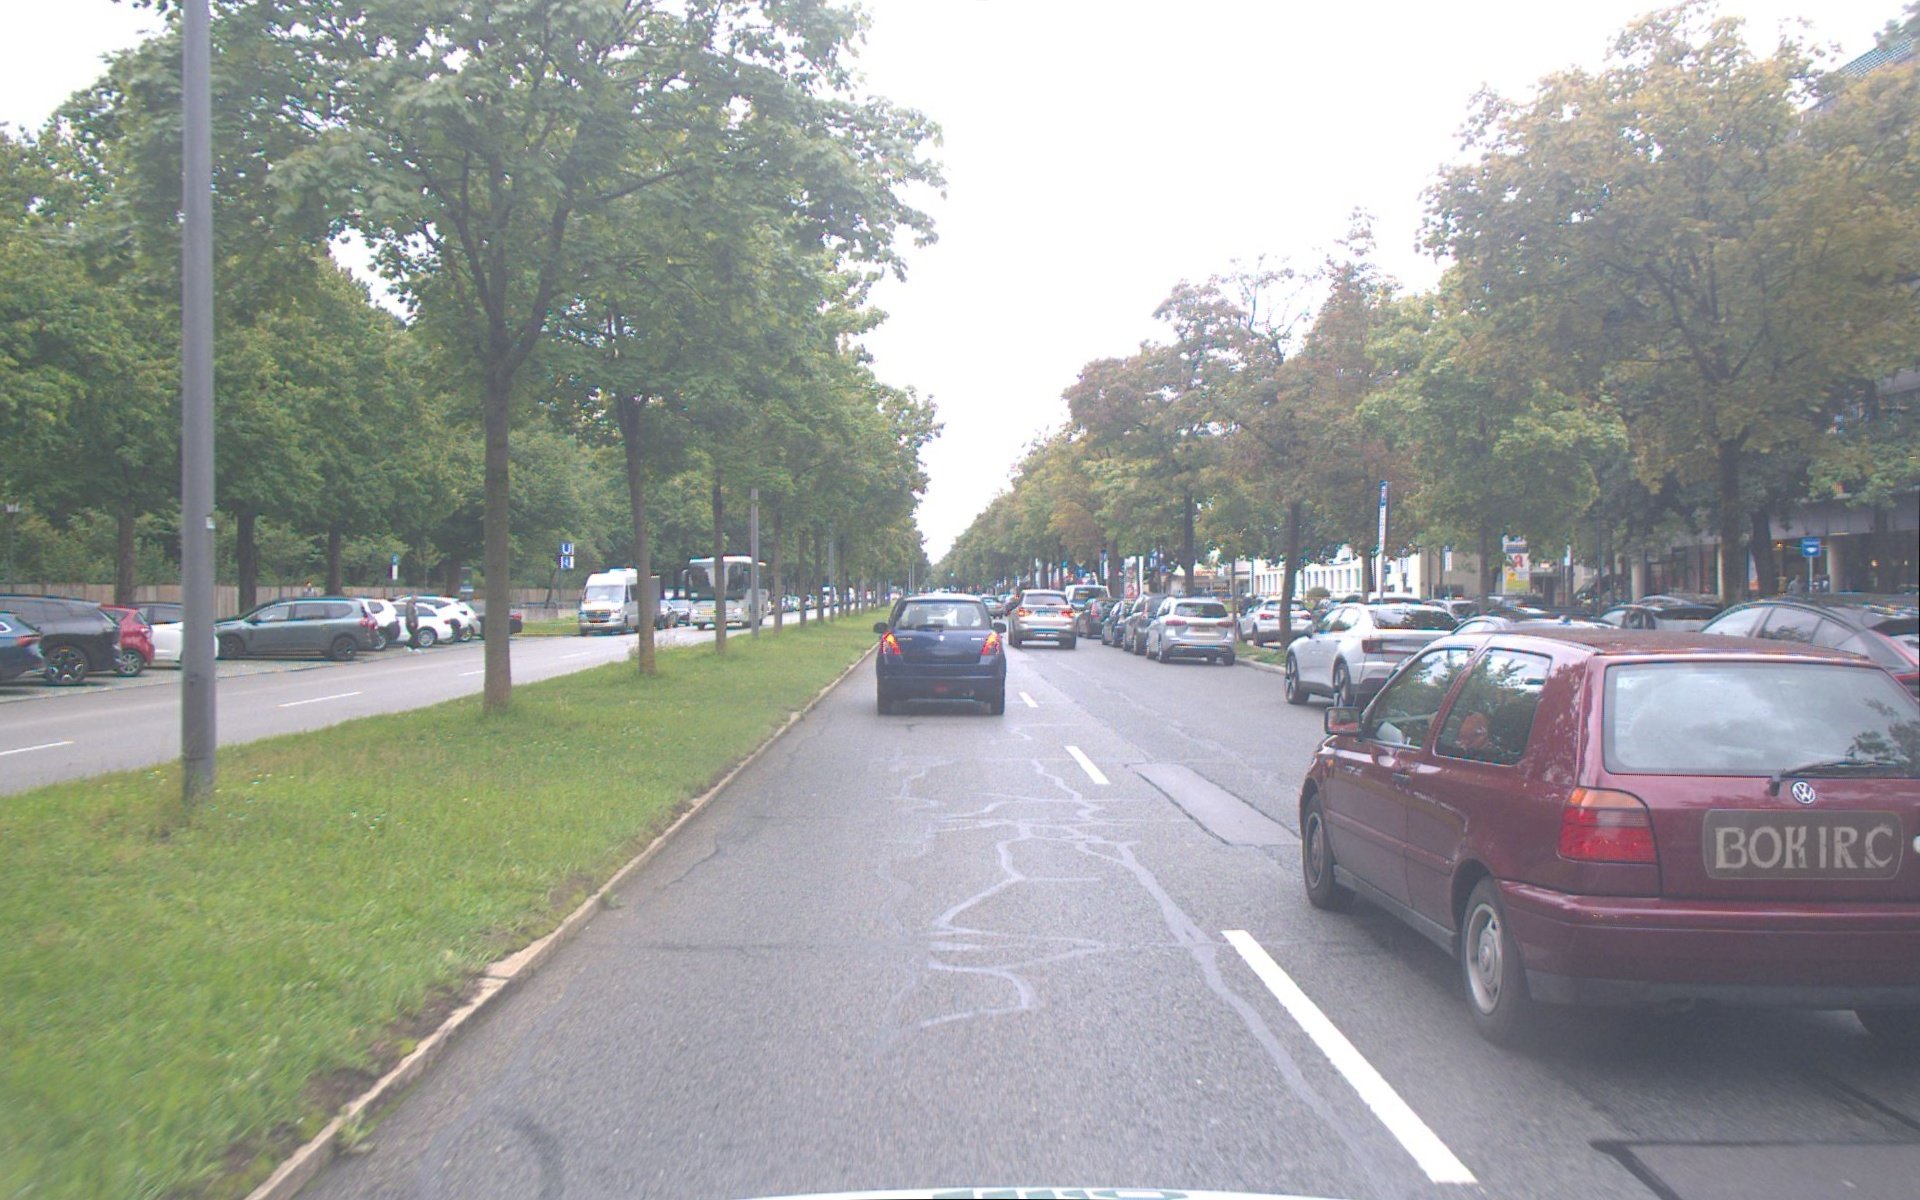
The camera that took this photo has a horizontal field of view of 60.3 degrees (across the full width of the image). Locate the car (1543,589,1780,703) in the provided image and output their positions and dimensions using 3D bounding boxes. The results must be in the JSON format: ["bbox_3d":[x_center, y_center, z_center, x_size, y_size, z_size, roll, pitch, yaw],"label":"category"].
[{"bbox_3d":[9.838,0.593,23.533,1.650,1.479,4.009,0,0,0],"label":"car"}]

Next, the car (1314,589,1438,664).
[{"bbox_3d":[9.759,0.588,39.143,1.650,1.661,4.779,0,0,-1],"label":"car"}]

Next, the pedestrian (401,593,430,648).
[{"bbox_3d":[-16.337,0.614,49.594,0.711,1.640,0.679,0,0,-9],"label":"pedestrian"}]

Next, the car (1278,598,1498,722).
[{"bbox_3d":[5.735,0.743,22.747,1.672,1.479,4.510,2,0,-2],"label":"car"}]

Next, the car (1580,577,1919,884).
[{"bbox_3d":[5.959,0.704,11.289,1.728,1.680,4.423,0,0,-1],"label":"car"}]

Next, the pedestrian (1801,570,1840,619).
[{"bbox_3d":[30.658,-0.201,58.947,0.943,1.734,0.798,1,0,-1],"label":"pedestrian"}]

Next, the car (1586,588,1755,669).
[{"bbox_3d":[15.559,0.583,36.477,1.650,1.661,4.496,0,0,-3],"label":"car"}]

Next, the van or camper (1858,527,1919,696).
[{"bbox_3d":[15.772,0.182,24.201,1.983,2.602,5.956,0,0,-1],"label":"van or camper"}]

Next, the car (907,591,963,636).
[{"bbox_3d":[-0.895,0.439,56.633,1.813,1.472,4.096,0,0,-2],"label":"car"}]

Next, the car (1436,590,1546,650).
[{"bbox_3d":[15.469,0.550,48.415,1.650,1.661,4.381,0,0,-3],"label":"car"}]

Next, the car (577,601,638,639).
[{"bbox_3d":[-15.173,0.831,71.351,1.875,1.569,4.186,-1,0,-2],"label":"car"}]

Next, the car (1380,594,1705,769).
[{"bbox_3d":[5.793,0.725,17.065,1.728,1.573,4.423,0,0,-1],"label":"car"}]

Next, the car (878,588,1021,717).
[{"bbox_3d":[-0.206,0.634,22.326,1.753,1.583,3.998,0,0,-2],"label":"car"}]

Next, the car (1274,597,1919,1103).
[{"bbox_3d":[2.523,0.736,6.893,1.589,1.479,3.949,0,0,-1],"label":"car"}]

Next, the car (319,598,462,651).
[{"bbox_3d":[-18.523,0.772,53.820,4.059,1.612,1.896,-1,0,-35],"label":"car"}]

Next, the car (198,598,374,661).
[{"bbox_3d":[-18.063,0.751,44.354,4.132,1.569,1.899,-1,0,-32],"label":"car"}]

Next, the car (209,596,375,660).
[{"bbox_3d":[-18.888,0.757,46.819,4.059,1.725,1.896,-1,0,-35],"label":"car"}]

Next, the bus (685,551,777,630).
[{"bbox_3d":[-10.921,-0.450,80.104,2.682,3.436,12.012,-2,0,0],"label":"bus"}]

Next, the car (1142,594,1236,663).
[{"bbox_3d":[5.509,0.645,40.193,1.650,1.552,4.455,1,0,0],"label":"car"}]

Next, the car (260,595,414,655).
[{"bbox_3d":[-18.892,0.733,50.178,4.059,1.725,1.896,-1,0,-35],"label":"car"}]

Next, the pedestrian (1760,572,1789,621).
[{"bbox_3d":[28.918,-0.133,58.716,0.667,1.734,0.697,1,0,-1],"label":"pedestrian"}]

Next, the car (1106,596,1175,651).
[{"bbox_3d":[5.469,0.685,50.584,1.650,1.581,4.306,0,0,0],"label":"car"}]

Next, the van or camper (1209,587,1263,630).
[{"bbox_3d":[13.349,0.385,80.251,1.905,2.009,4.306,0,0,0],"label":"van or camper"}]

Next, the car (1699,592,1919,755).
[{"bbox_3d":[9.961,0.721,18.433,1.650,1.613,4.009,0,0,0],"label":"car"}]

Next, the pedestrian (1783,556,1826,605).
[{"bbox_3d":[30.668,-0.701,60.080,0.996,1.734,1.046,1,0,-1],"label":"pedestrian"}]

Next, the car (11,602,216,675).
[{"bbox_3d":[-19.246,0.836,37.637,4.054,1.527,1.899,-1,0,-32],"label":"car"}]

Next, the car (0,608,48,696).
[{"bbox_3d":[-18.121,0.915,28.532,4.059,1.495,1.896,-1,0,-35],"label":"car"}]

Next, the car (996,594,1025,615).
[{"bbox_3d":[3.643,0.312,119.734,1.813,1.472,4.096,0,0,-2],"label":"car"}]

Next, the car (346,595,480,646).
[{"bbox_3d":[-18.783,0.679,56.840,4.059,1.681,1.896,-1,0,-35],"label":"car"}]

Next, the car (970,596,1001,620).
[{"bbox_3d":[1.616,0.511,106.169,1.813,1.472,4.096,0,0,-2],"label":"car"}]

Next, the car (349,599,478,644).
[{"bbox_3d":[-19.615,0.752,59.385,4.059,1.500,1.896,-1,0,-35],"label":"car"}]

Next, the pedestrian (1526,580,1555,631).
[{"bbox_3d":[19.983,0.201,56.981,0.732,1.736,0.702,0,0,-1],"label":"pedestrian"}]

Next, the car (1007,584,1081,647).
[{"bbox_3d":[2.433,0.430,48.956,1.813,1.773,4.096,0,0,-2],"label":"car"}]

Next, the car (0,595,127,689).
[{"bbox_3d":[-18.173,0.785,31.366,4.059,1.709,1.896,-1,0,-35],"label":"car"}]

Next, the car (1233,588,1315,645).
[{"bbox_3d":[9.364,0.465,49.588,1.650,1.613,4.027,0,0,-1],"label":"car"}]

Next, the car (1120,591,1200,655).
[{"bbox_3d":[5.477,0.592,45.701,1.650,1.654,4.306,1,0,0],"label":"car"}]

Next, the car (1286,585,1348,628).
[{"bbox_3d":[14.037,0.239,65.249,1.649,1.613,4.028,0,0,1],"label":"car"}]

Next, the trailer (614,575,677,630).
[{"bbox_3d":[-15.342,0.126,80.976,2.063,2.585,5.576,0,0,-1],"label":"trailer"}]

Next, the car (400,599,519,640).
[{"bbox_3d":[-18.997,0.740,62.831,4.059,1.500,1.684,1,-1,-35],"label":"car"}]

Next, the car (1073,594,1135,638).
[{"bbox_3d":[5.290,0.557,61.180,1.651,1.581,4.303,0,0,-3],"label":"car"}]

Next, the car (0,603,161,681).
[{"bbox_3d":[-19.034,0.858,34.557,4.054,1.527,1.899,-1,0,-32],"label":"car"}]

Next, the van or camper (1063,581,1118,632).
[{"bbox_3d":[5.271,0.260,67.496,1.905,2.009,4.306,0,0,0],"label":"van or camper"}]

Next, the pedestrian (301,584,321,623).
[{"bbox_3d":[-27.829,0.138,70.944,0.671,1.640,0.685,0,0,-32],"label":"pedestrian"}]
